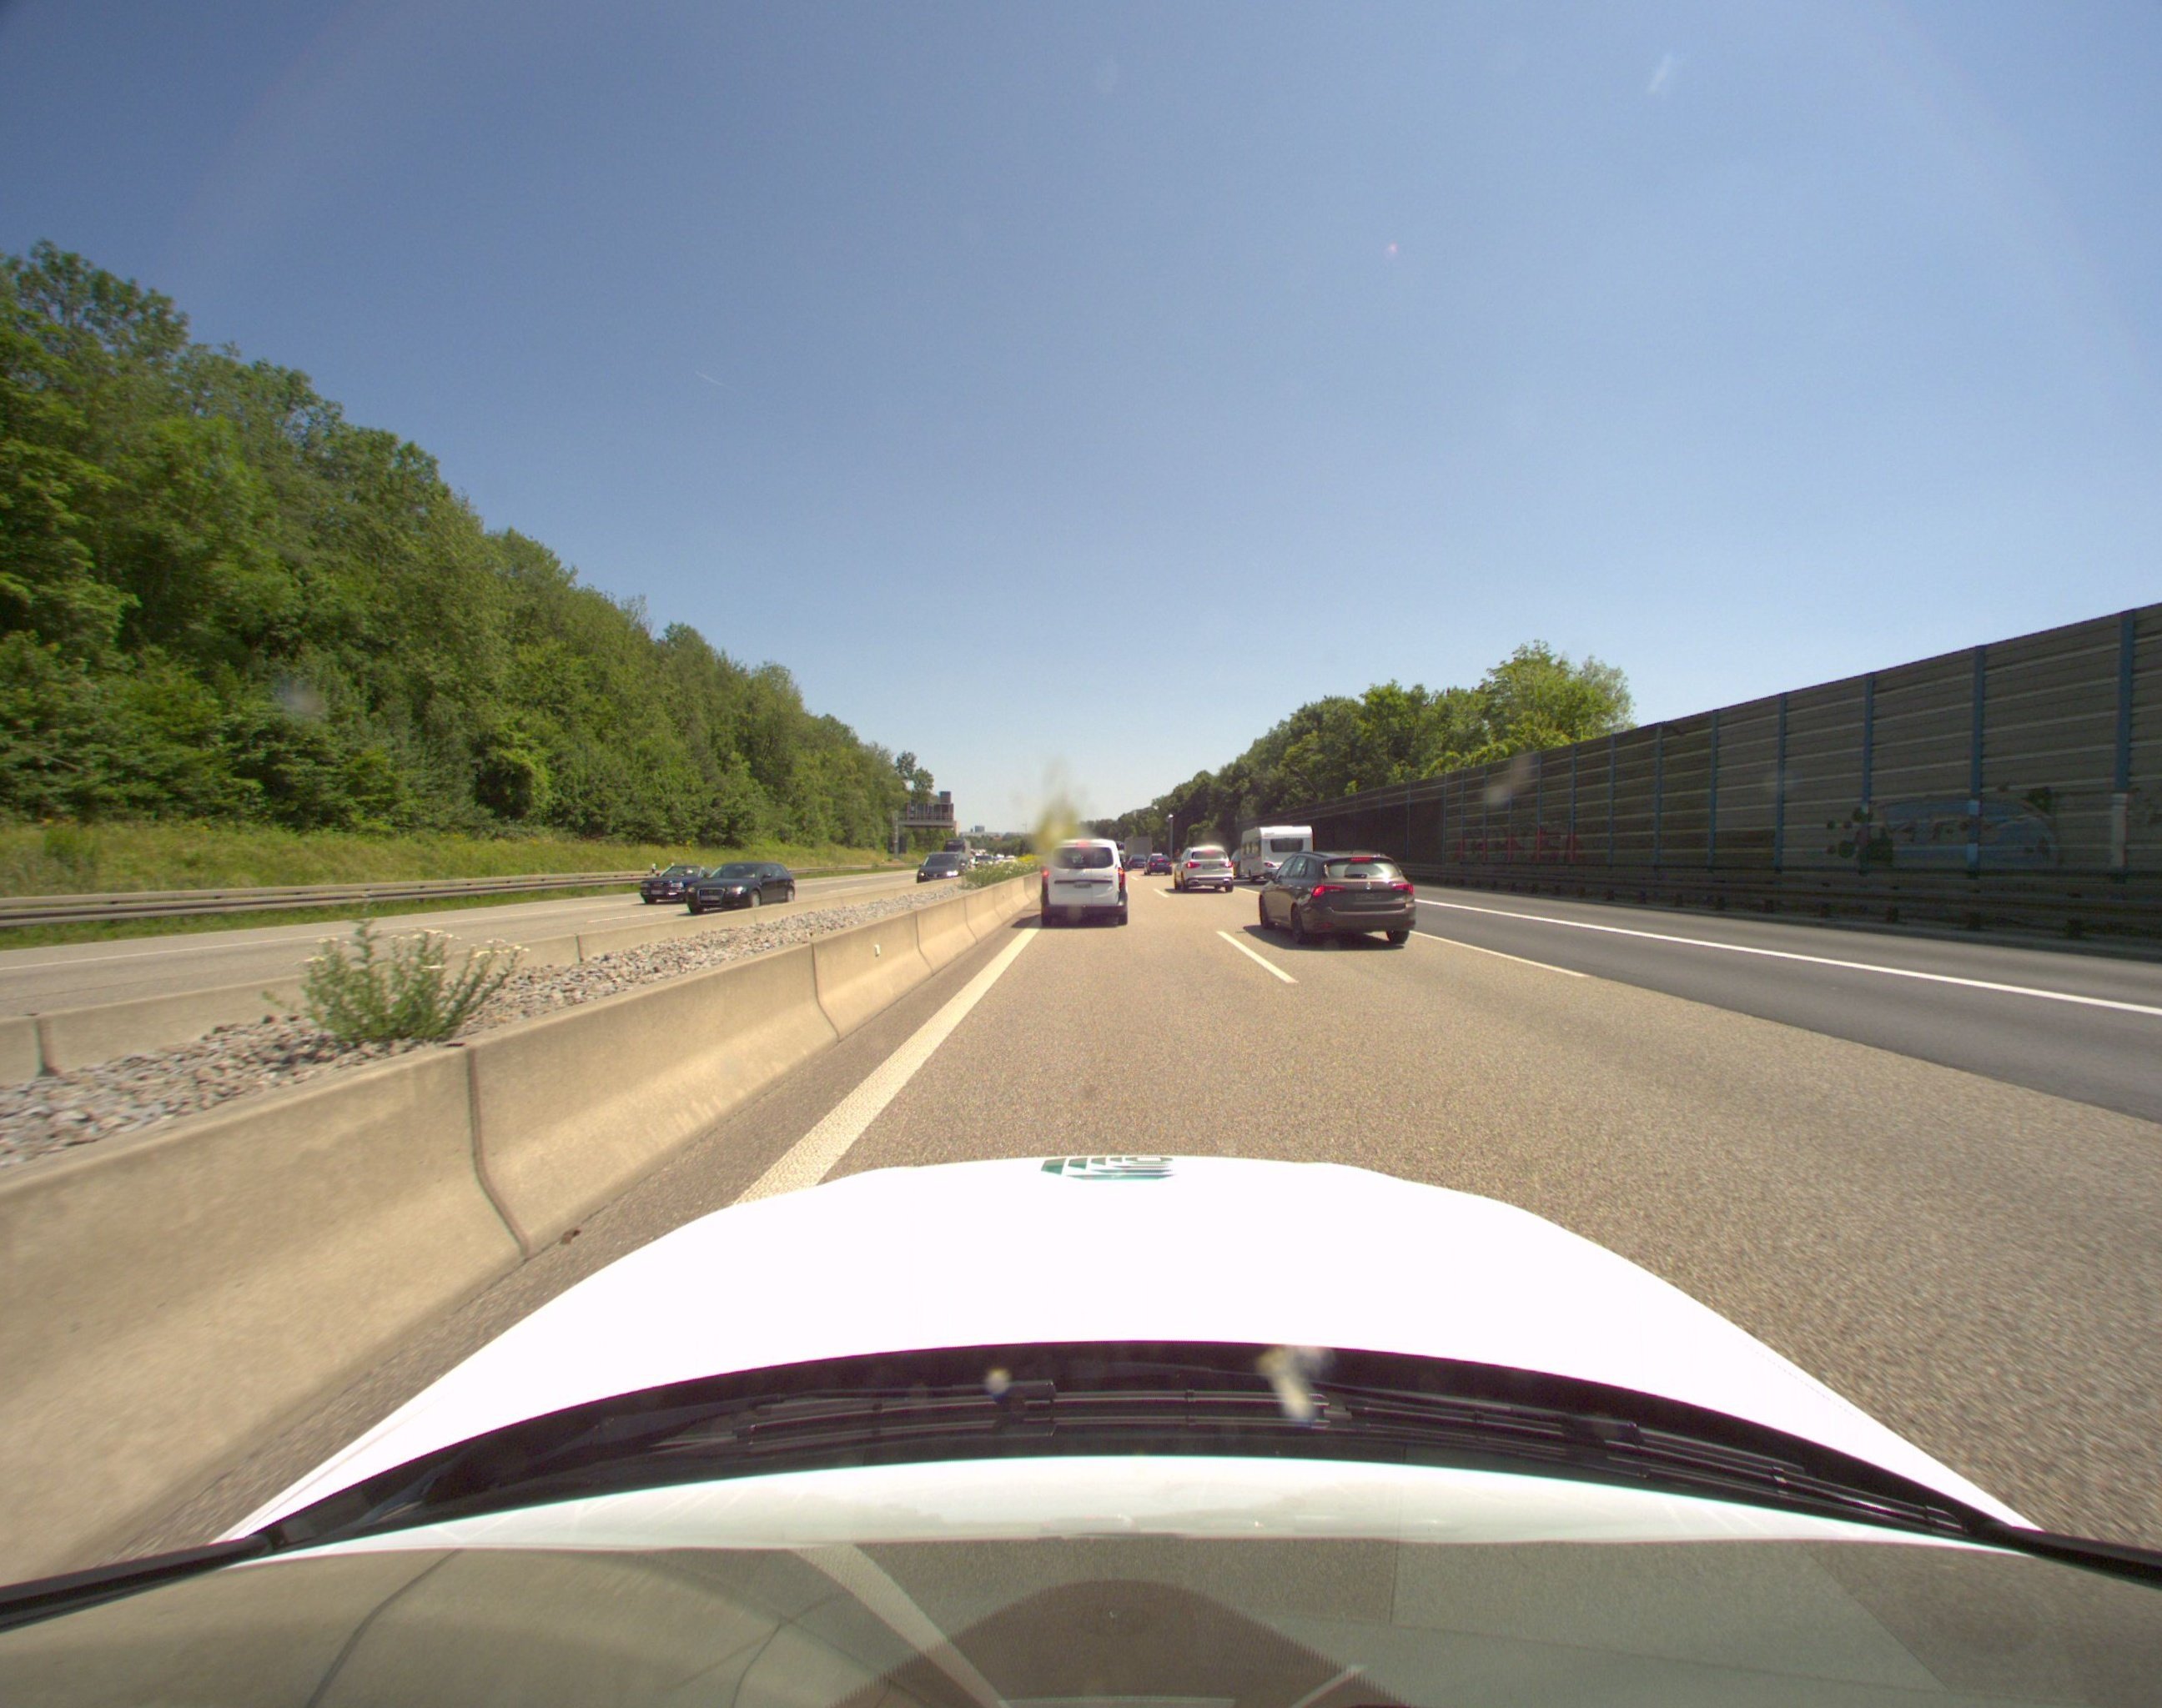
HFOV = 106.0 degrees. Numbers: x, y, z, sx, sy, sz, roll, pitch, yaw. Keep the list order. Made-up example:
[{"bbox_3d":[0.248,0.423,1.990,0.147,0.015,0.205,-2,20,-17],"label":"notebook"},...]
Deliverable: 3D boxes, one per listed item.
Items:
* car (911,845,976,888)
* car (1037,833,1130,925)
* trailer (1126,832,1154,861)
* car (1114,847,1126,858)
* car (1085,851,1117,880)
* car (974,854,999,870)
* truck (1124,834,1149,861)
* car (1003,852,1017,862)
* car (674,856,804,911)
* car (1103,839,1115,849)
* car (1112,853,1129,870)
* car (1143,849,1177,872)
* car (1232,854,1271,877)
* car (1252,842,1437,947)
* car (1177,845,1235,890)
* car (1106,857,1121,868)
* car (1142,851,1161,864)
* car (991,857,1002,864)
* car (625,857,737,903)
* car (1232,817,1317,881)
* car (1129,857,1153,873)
[{"bbox_3d":[-5.985,0.512,35.888,1.986,1.724,4.358,-1,0,2],"label":"car"},{"bbox_3d":[0.159,0.518,18.326,1.794,1.808,4.004,-1,0,4],"label":"car"},{"bbox_3d":[8.399,-0.951,116.881,3.072,3.986,10.319,-1,-1,0],"label":"trailer"},{"bbox_3d":[7.059,-0.244,148.167,1.987,2.014,3.999,-1,0,0],"label":"car"},{"bbox_3d":[1.307,0.750,55.243,1.987,1.860,3.999,-1,-1,-1],"label":"car"},{"bbox_3d":[-9.977,0.833,86.267,1.986,1.627,4.475,-1,0,1],"label":"car"},{"bbox_3d":[8.349,-0.914,124.232,3.072,3.986,9.643,-1,-1,0],"label":"truck"},{"bbox_3d":[-11.933,0.495,136.820,1.987,1.498,4.247,-1,0,0],"label":"car"},{"bbox_3d":[-9.647,0.777,23.393,1.806,1.402,4.273,-1,0,2],"label":"car"},{"bbox_3d":[5.607,-2.006,165.436,1.990,2.014,3.994,-1,0,-4],"label":"car"},{"bbox_3d":[4.714,0.883,98.744,1.818,1.989,3.999,-1,0,-1],"label":"car"},{"bbox_3d":[5.236,0.428,54.584,1.818,1.424,3.999,-1,-1,-1],"label":"car"},{"bbox_3d":[11.346,0.756,54.518,1.818,1.424,4.000,-1,-1,0],"label":"car"},{"bbox_3d":[4.332,0.590,14.165,1.832,1.513,4.402,-1,0,1],"label":"car"},{"bbox_3d":[4.695,0.477,31.139,1.863,1.608,3.883,-1,0,4],"label":"car"},{"bbox_3d":[4.548,1.207,114.407,1.818,1.447,3.999,-1,-1,-1],"label":"car"},{"bbox_3d":[8.264,0.403,95.471,1.818,1.424,3.999,-1,0,-1],"label":"car"},{"bbox_3d":[-17.740,1.307,170.869,1.987,1.491,4.000,-1,0,0],"label":"car"},{"bbox_3d":[-13.942,0.848,28.635,1.833,1.453,4.002,-1,0,2],"label":"car"},{"bbox_3d":[9.041,-0.191,38.650,2.471,2.766,6.217,-1,-1,-1],"label":"car"},{"bbox_3d":[5.384,0.971,73.624,1.818,1.424,3.999,-1,-1,-1],"label":"car"}]
